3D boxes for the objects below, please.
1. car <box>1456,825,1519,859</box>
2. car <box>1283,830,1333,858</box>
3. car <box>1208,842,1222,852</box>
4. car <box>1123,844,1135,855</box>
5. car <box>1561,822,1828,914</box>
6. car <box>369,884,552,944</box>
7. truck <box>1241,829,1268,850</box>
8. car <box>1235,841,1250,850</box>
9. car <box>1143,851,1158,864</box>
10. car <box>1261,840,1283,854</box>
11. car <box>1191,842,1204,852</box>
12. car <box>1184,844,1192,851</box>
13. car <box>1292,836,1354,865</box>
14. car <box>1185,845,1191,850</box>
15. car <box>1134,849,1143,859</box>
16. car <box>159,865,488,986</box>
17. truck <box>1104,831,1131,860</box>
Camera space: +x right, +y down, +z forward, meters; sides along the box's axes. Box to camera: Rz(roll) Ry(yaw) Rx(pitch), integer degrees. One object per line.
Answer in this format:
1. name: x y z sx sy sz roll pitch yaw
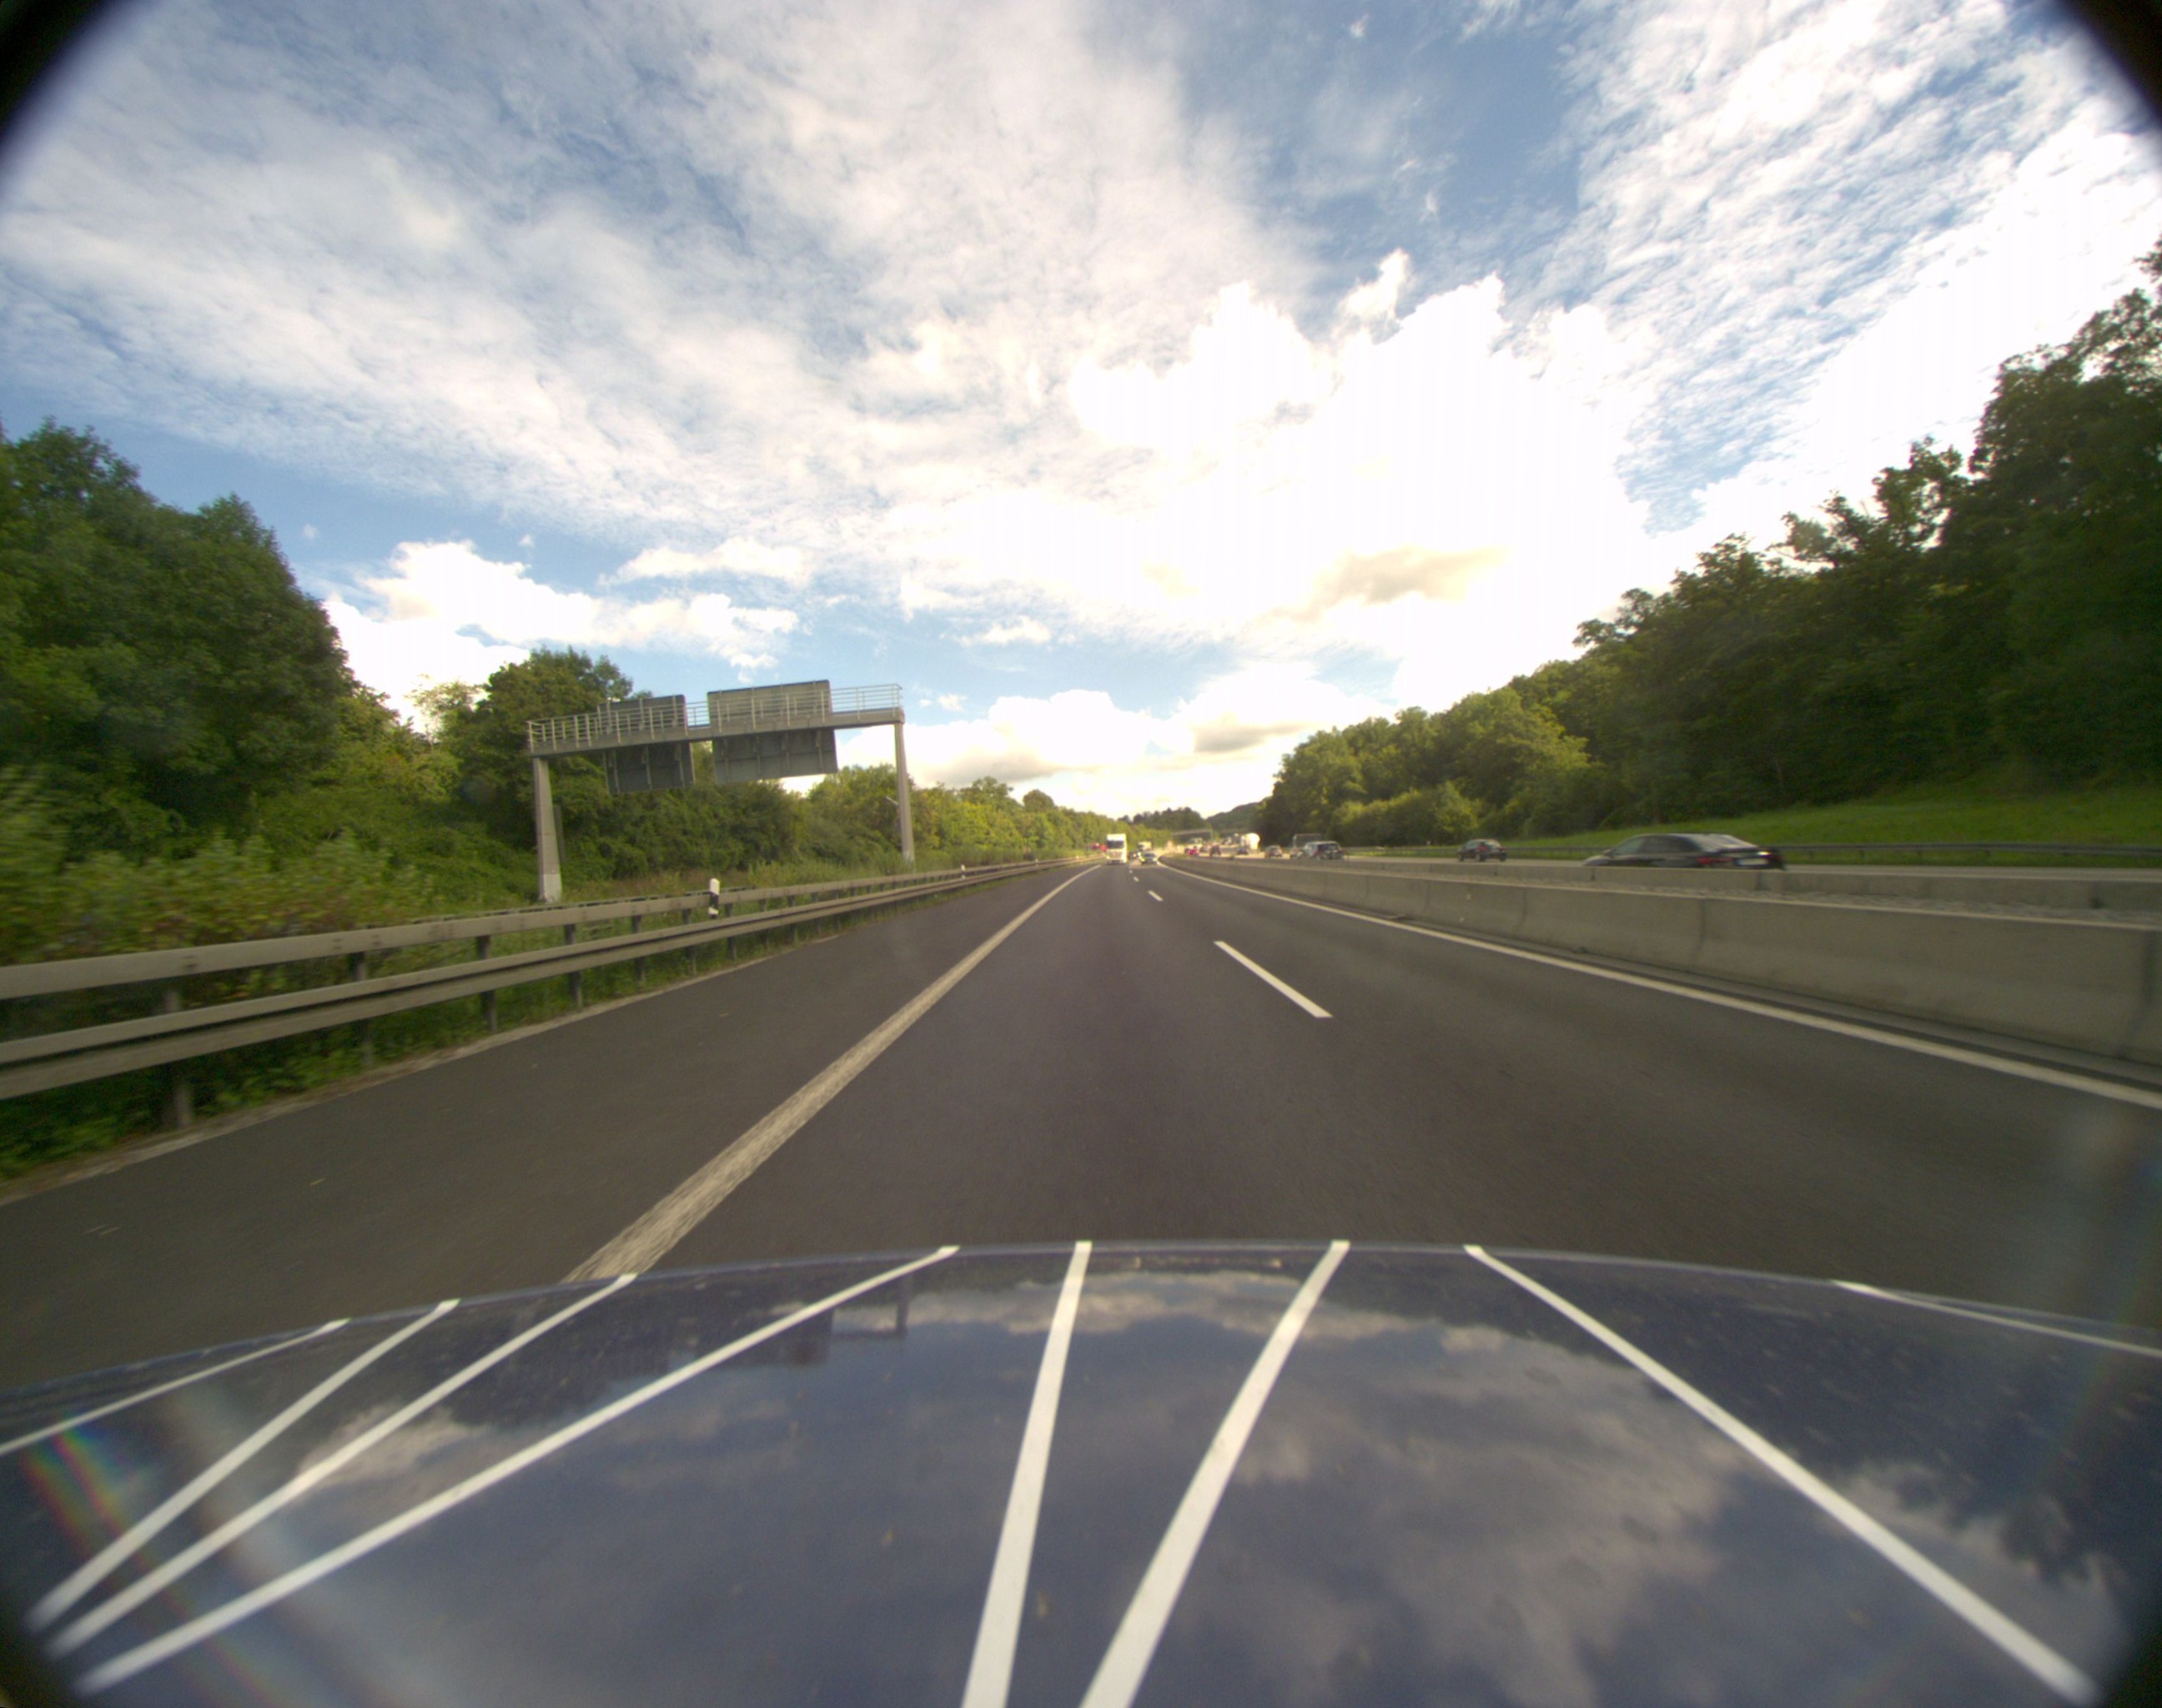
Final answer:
1. car: 26.282 -0.739 49.295 1.998 2.022 4.000 -2 0 2
2. car: 18.770 -0.822 63.179 2.205 2.117 8.078 -3 0 4
3. car: 24.755 -1.307 140.256 2.041 1.605 5.041 -3 0 5
4. car: 8.915 -0.832 141.077 1.998 1.798 3.809 -2 0 4
5. car: 12.779 0.216 16.353 1.998 1.617 4.777 -2 1 2
6. car: -20.445 1.916 25.388 1.771 1.501 4.872 -3 0 5
7. truck: 35.804 -2.951 157.654 3.458 4.103 13.681 -2 1 5
8. car: 28.272 -1.489 132.923 1.904 1.456 4.343 -3 0 5
9. car: 8.222 0.404 89.604 1.662 1.464 4.001 -3 0 5
10. car: 24.731 -0.920 98.444 1.730 1.629 4.191 -3 0 1
11. car: 20.563 -1.222 134.026 1.805 1.597 4.483 -3 0 3
12. car: 25.538 -1.570 181.105 1.601 1.521 3.843 -3 0 4
13. car: 14.070 -0.218 44.592 1.987 1.501 5.961 -3 0 3
14. car: 29.496 -1.808 209.509 1.601 1.489 4.065 -3 0 6
15. car: 13.354 -0.003 175.774 1.998 2.002 4.001 -2 1 5
16. car: -15.572 1.321 16.163 1.999 2.002 4.909 -3 0 -1
17. truck: 5.070 -1.212 103.657 2.795 3.562 11.461 -2 1 6
